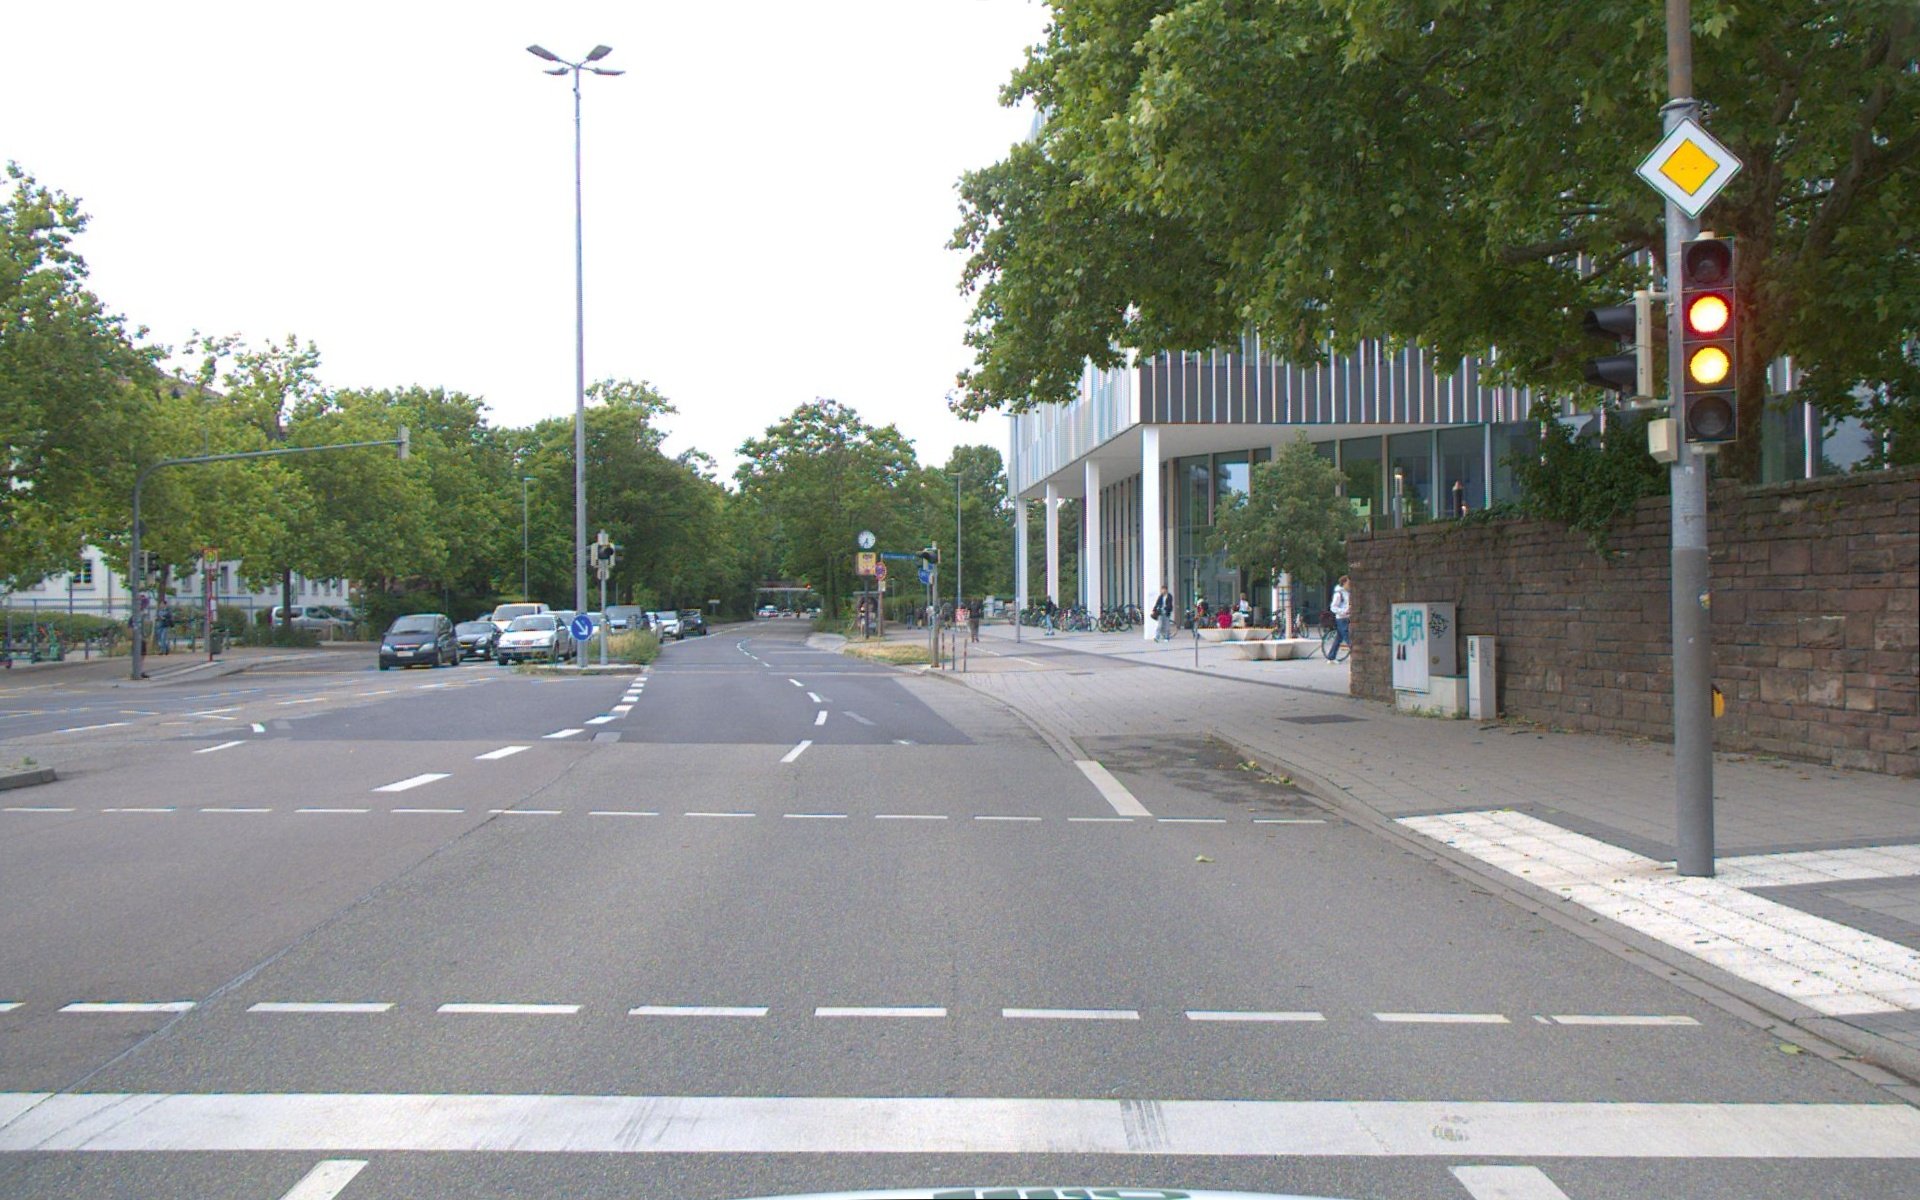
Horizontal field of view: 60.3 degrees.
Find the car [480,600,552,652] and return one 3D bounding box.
[{"bbox_3d":[-17.109,0.979,63.975,1.736,1.880,4.486,1,0,-3],"label":"car"}]

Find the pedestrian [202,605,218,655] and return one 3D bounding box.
[{"bbox_3d":[-26.360,1.054,58.126,0.412,1.769,0.433,1,-1,-11],"label":"pedestrian"}]

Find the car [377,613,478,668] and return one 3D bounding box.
[{"bbox_3d":[-15.675,1.163,48.886,1.815,1.489,3.696,-1,0,-1],"label":"car"}]

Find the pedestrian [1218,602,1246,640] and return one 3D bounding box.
[{"bbox_3d":[9.033,0.697,54.898,0.872,1.214,0.846,-1,0,9],"label":"pedestrian"}]

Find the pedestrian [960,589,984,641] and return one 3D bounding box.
[{"bbox_3d":[0.490,0.594,67.068,0.826,2.049,0.894,-3,0,-3],"label":"pedestrian"}]

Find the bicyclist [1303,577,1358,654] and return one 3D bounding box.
[{"bbox_3d":[8.155,0.341,36.386,0.950,1.674,0.733,1,-1,35],"label":"bicyclist"}]

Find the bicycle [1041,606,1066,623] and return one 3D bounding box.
[{"bbox_3d":[5.087,0.787,90.117,1.258,0.890,0.556,-2,0,-4],"label":"bicycle"}]

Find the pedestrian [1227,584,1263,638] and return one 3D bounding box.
[{"bbox_3d":[9.930,0.389,57.632,0.836,1.868,0.883,-1,-1,-36],"label":"pedestrian"}]

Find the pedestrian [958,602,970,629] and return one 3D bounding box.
[{"bbox_3d":[0.271,1.003,104.959,0.714,1.713,0.747,1,-1,-1],"label":"pedestrian"}]

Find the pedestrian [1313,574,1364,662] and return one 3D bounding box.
[{"bbox_3d":[7.980,0.382,34.875,0.768,1.827,0.786,-1,-1,38],"label":"pedestrian"}]

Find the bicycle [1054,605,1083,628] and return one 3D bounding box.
[{"bbox_3d":[5.459,0.833,83.178,1.373,1.062,0.558,-3,0,-4],"label":"bicycle"}]

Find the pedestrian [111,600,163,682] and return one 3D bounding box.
[{"bbox_3d":[-21.187,1.043,42.592,0.877,2.049,1.008,-1,0,-7],"label":"pedestrian"}]

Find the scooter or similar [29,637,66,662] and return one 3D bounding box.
[{"bbox_3d":[-27.200,1.467,49.299,0.398,0.706,1.288,1,0,-2],"label":"scooter or similar"}]

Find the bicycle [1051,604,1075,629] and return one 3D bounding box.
[{"bbox_3d":[4.958,0.787,79.535,0.624,1.160,2.196,-4,0,-9],"label":"bicycle"}]

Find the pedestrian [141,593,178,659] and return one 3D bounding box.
[{"bbox_3d":[-24.984,0.805,51.622,0.787,2.049,0.923,1,-1,-11],"label":"pedestrian"}]

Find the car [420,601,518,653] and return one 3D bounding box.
[{"bbox_3d":[-16.321,0.862,55.135,1.952,1.648,4.001,-1,0,2],"label":"car"}]

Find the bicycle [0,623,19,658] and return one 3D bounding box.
[{"bbox_3d":[-33.169,1.397,56.147,2.002,1.173,0.716,-1,0,-23],"label":"bicycle"}]

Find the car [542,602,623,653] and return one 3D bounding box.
[{"bbox_3d":[-13.155,0.935,57.879,1.918,1.611,4.254,-2,1,-2],"label":"car"}]

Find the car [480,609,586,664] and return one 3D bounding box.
[{"bbox_3d":[-12.799,1.064,49.882,1.952,1.556,4.275,-1,0,2],"label":"car"}]

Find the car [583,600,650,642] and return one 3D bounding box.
[{"bbox_3d":[-14.728,0.869,71.098,1.953,1.717,4.946,1,0,-2],"label":"car"}]

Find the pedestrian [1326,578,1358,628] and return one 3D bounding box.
[{"bbox_3d":[16.386,0.139,70.941,1.157,2.098,1.135,1,-1,22],"label":"pedestrian"}]

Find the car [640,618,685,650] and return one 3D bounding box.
[{"bbox_3d":[-16.046,1.829,89.300,1.955,1.574,4.175,-2,0,-5],"label":"car"}]

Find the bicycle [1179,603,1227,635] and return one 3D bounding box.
[{"bbox_3d":[9.201,0.710,62.645,0.723,1.135,2.170,-1,0,42],"label":"bicycle"}]

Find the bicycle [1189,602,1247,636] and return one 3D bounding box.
[{"bbox_3d":[9.573,0.703,61.272,0.761,1.208,2.702,-1,0,43],"label":"bicycle"}]

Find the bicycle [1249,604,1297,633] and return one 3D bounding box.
[{"bbox_3d":[11.247,0.664,59.471,0.761,1.019,1.947,-1,0,43],"label":"bicycle"}]

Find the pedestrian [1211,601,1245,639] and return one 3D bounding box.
[{"bbox_3d":[8.795,0.663,54.204,0.826,1.227,0.893,-1,0,29],"label":"pedestrian"}]

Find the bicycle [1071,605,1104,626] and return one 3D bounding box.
[{"bbox_3d":[6.346,0.788,82.426,1.572,0.952,0.569,-3,0,6],"label":"bicycle"}]

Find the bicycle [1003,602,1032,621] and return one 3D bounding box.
[{"bbox_3d":[3.726,0.752,106.661,1.760,1.100,0.625,-3,0,-7],"label":"bicycle"}]

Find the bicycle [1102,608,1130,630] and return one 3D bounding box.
[{"bbox_3d":[7.099,0.846,75.134,1.477,0.945,0.433,-2,2,-44],"label":"bicycle"}]

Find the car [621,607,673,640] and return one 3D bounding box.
[{"bbox_3d":[-14.891,1.117,78.888,1.866,1.491,4.906,1,0,-5],"label":"car"}]

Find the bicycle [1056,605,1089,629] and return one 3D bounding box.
[{"bbox_3d":[5.794,0.884,85.364,1.610,1.110,0.572,-4,0,4],"label":"bicycle"}]

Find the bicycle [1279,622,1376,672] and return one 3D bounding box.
[{"bbox_3d":[8.083,1.020,36.401,1.936,1.036,0.793,1,0,35],"label":"bicycle"}]

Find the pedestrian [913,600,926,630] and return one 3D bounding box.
[{"bbox_3d":[-2.780,1.007,113.075,0.809,2.049,0.718,-1,0,-9],"label":"pedestrian"}]

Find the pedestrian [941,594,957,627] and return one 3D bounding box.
[{"bbox_3d":[-0.695,0.674,104.629,0.908,2.049,1.038,-1,0,-8],"label":"pedestrian"}]

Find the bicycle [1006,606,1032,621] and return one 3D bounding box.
[{"bbox_3d":[3.749,0.838,104.660,1.575,0.890,0.556,-2,0,-5],"label":"bicycle"}]

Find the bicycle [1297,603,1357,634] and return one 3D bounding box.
[{"bbox_3d":[12.642,0.624,56.913,2.166,1.023,0.772,-1,0,-35],"label":"bicycle"}]

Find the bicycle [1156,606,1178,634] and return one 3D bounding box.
[{"bbox_3d":[8.092,0.781,64.702,0.625,1.080,1.840,1,0,0],"label":"bicycle"}]

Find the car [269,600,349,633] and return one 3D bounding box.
[{"bbox_3d":[-33.679,0.843,85.600,3.517,1.630,1.649,1,0,-7],"label":"car"}]

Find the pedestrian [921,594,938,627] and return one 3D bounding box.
[{"bbox_3d":[-1.948,0.640,104.567,0.908,2.049,1.037,-1,0,-9],"label":"pedestrian"}]

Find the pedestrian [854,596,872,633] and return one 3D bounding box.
[{"bbox_3d":[-5.557,0.818,94.668,0.895,2.048,0.853,-3,2,-6],"label":"pedestrian"}]

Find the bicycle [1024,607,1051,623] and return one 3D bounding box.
[{"bbox_3d":[4.720,0.917,100.980,1.575,0.890,0.556,-2,0,-5],"label":"bicycle"}]

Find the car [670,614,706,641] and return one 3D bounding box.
[{"bbox_3d":[-17.262,1.758,105.285,1.866,1.621,4.512,-1,0,-5],"label":"car"}]

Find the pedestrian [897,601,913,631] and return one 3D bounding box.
[{"bbox_3d":[-3.762,1.107,113.236,0.908,2.049,1.037,-1,0,-9],"label":"pedestrian"}]

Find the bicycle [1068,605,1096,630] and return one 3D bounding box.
[{"bbox_3d":[5.669,0.822,76.785,0.598,1.099,1.954,-3,0,-16],"label":"bicycle"}]

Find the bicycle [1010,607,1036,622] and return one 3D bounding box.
[{"bbox_3d":[3.957,0.911,103.716,1.575,0.890,0.556,-2,0,-5],"label":"bicycle"}]

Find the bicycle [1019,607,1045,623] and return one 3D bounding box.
[{"bbox_3d":[4.450,0.932,102.149,1.575,0.890,0.556,-2,0,-5],"label":"bicycle"}]

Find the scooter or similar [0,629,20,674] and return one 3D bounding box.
[{"bbox_3d":[-25.374,1.371,43.740,0.353,1.160,1.318,-1,0,-5],"label":"scooter or similar"}]

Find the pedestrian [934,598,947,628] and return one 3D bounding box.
[{"bbox_3d":[-1.360,0.870,113.852,0.808,2.049,0.719,-1,0,-6],"label":"pedestrian"}]

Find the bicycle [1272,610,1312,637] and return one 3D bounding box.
[{"bbox_3d":[11.829,0.824,58.877,0.659,0.914,1.839,-1,0,36],"label":"bicycle"}]

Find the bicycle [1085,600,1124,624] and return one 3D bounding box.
[{"bbox_3d":[7.484,0.610,85.596,1.948,1.164,0.646,-3,0,37],"label":"bicycle"}]

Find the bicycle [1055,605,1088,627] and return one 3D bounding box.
[{"bbox_3d":[5.638,0.823,83.764,1.575,0.999,0.556,-4,0,-5],"label":"bicycle"}]

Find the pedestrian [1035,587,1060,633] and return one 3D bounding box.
[{"bbox_3d":[3.934,0.452,74.478,0.873,2.049,0.845,-1,0,21],"label":"pedestrian"}]

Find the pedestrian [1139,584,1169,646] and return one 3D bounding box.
[{"bbox_3d":[6.531,0.493,55.730,0.826,2.049,0.894,-1,0,-3],"label":"pedestrian"}]
